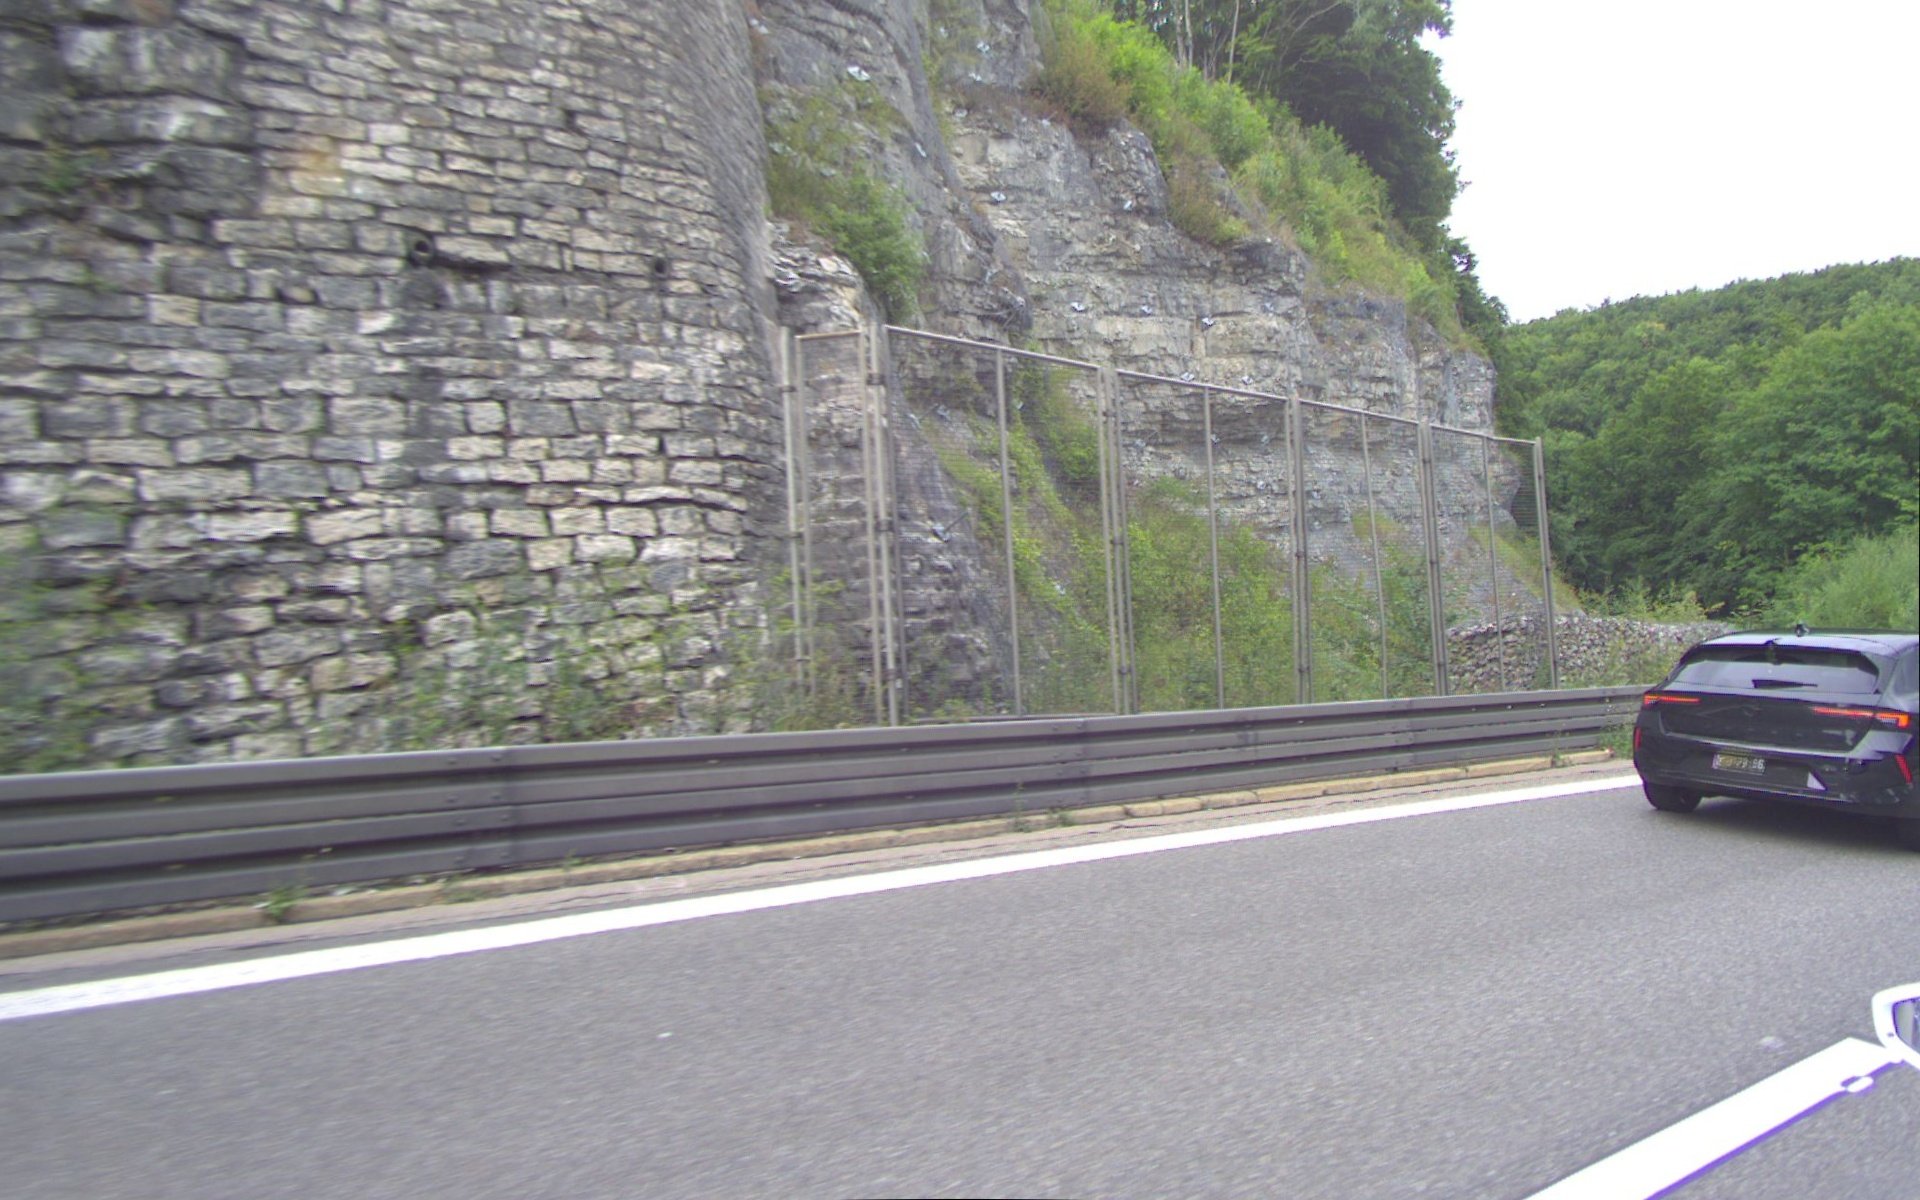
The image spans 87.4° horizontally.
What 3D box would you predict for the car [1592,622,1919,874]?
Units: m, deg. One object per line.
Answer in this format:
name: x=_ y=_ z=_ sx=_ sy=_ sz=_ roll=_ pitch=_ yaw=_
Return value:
car: x=7.102 y=0.939 z=7.873 sx=4.527 sy=1.480 sz=1.765 roll=1 pitch=-1 yaw=-30
